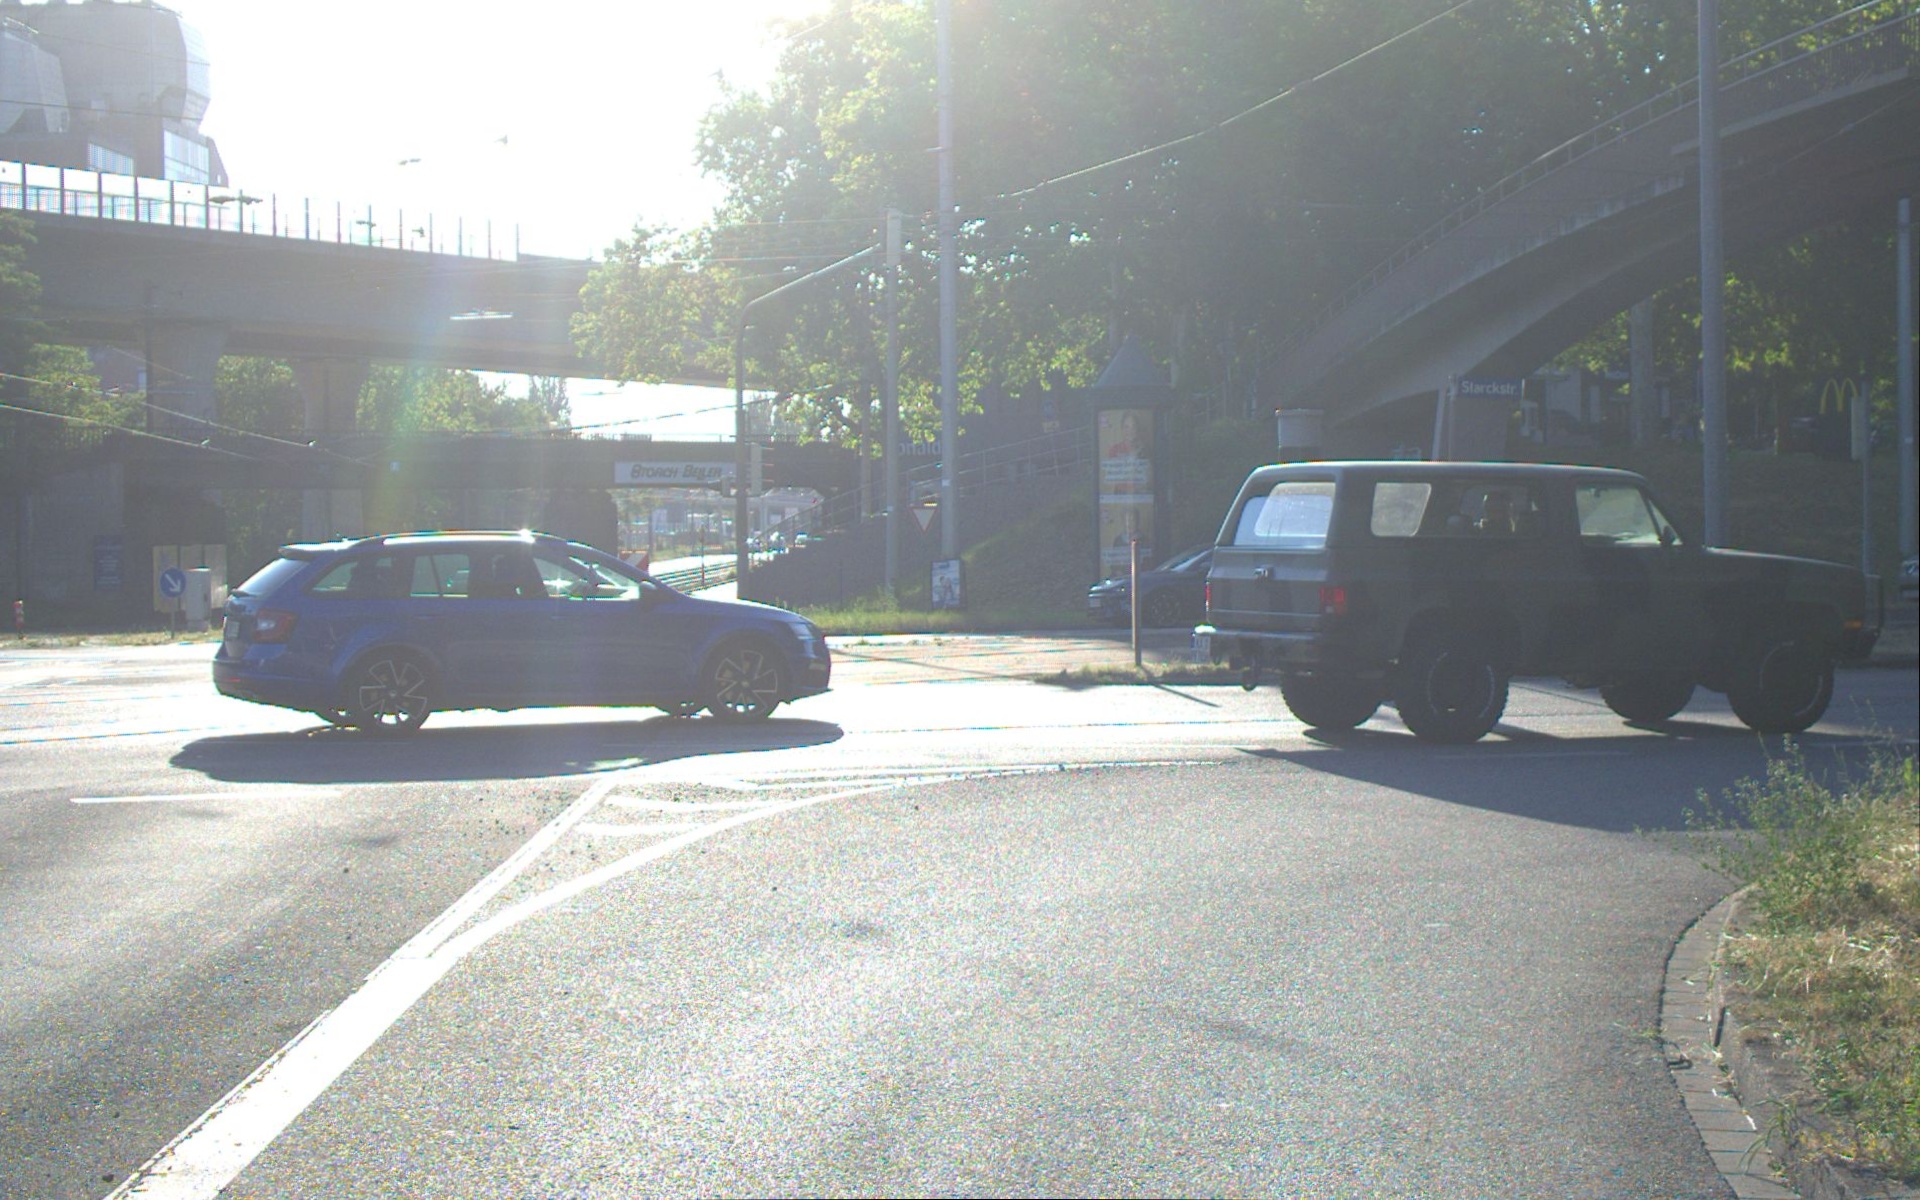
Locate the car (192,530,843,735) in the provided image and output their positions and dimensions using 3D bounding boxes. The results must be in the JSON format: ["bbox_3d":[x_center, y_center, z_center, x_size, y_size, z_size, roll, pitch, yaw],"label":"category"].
[{"bbox_3d":[-3.336,0.208,25.950,4.609,1.454,1.694,0,1,-21],"label":"car"}]

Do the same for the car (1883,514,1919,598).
[{"bbox_3d":[19.068,-0.788,62.792,3.993,1.507,1.694,0,1,-19],"label":"car"}]

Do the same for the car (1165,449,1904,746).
[{"bbox_3d":[4.148,-0.040,24.857,4.926,1.984,2.038,0,1,-22],"label":"car"}]

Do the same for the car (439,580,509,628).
[{"bbox_3d":[-14.819,0.108,104.945,1.665,1.400,4.445,0,1,-2],"label":"car"}]

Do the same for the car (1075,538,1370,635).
[{"bbox_3d":[4.348,-0.221,57.089,4.574,1.569,1.694,0,1,-17],"label":"car"}]
